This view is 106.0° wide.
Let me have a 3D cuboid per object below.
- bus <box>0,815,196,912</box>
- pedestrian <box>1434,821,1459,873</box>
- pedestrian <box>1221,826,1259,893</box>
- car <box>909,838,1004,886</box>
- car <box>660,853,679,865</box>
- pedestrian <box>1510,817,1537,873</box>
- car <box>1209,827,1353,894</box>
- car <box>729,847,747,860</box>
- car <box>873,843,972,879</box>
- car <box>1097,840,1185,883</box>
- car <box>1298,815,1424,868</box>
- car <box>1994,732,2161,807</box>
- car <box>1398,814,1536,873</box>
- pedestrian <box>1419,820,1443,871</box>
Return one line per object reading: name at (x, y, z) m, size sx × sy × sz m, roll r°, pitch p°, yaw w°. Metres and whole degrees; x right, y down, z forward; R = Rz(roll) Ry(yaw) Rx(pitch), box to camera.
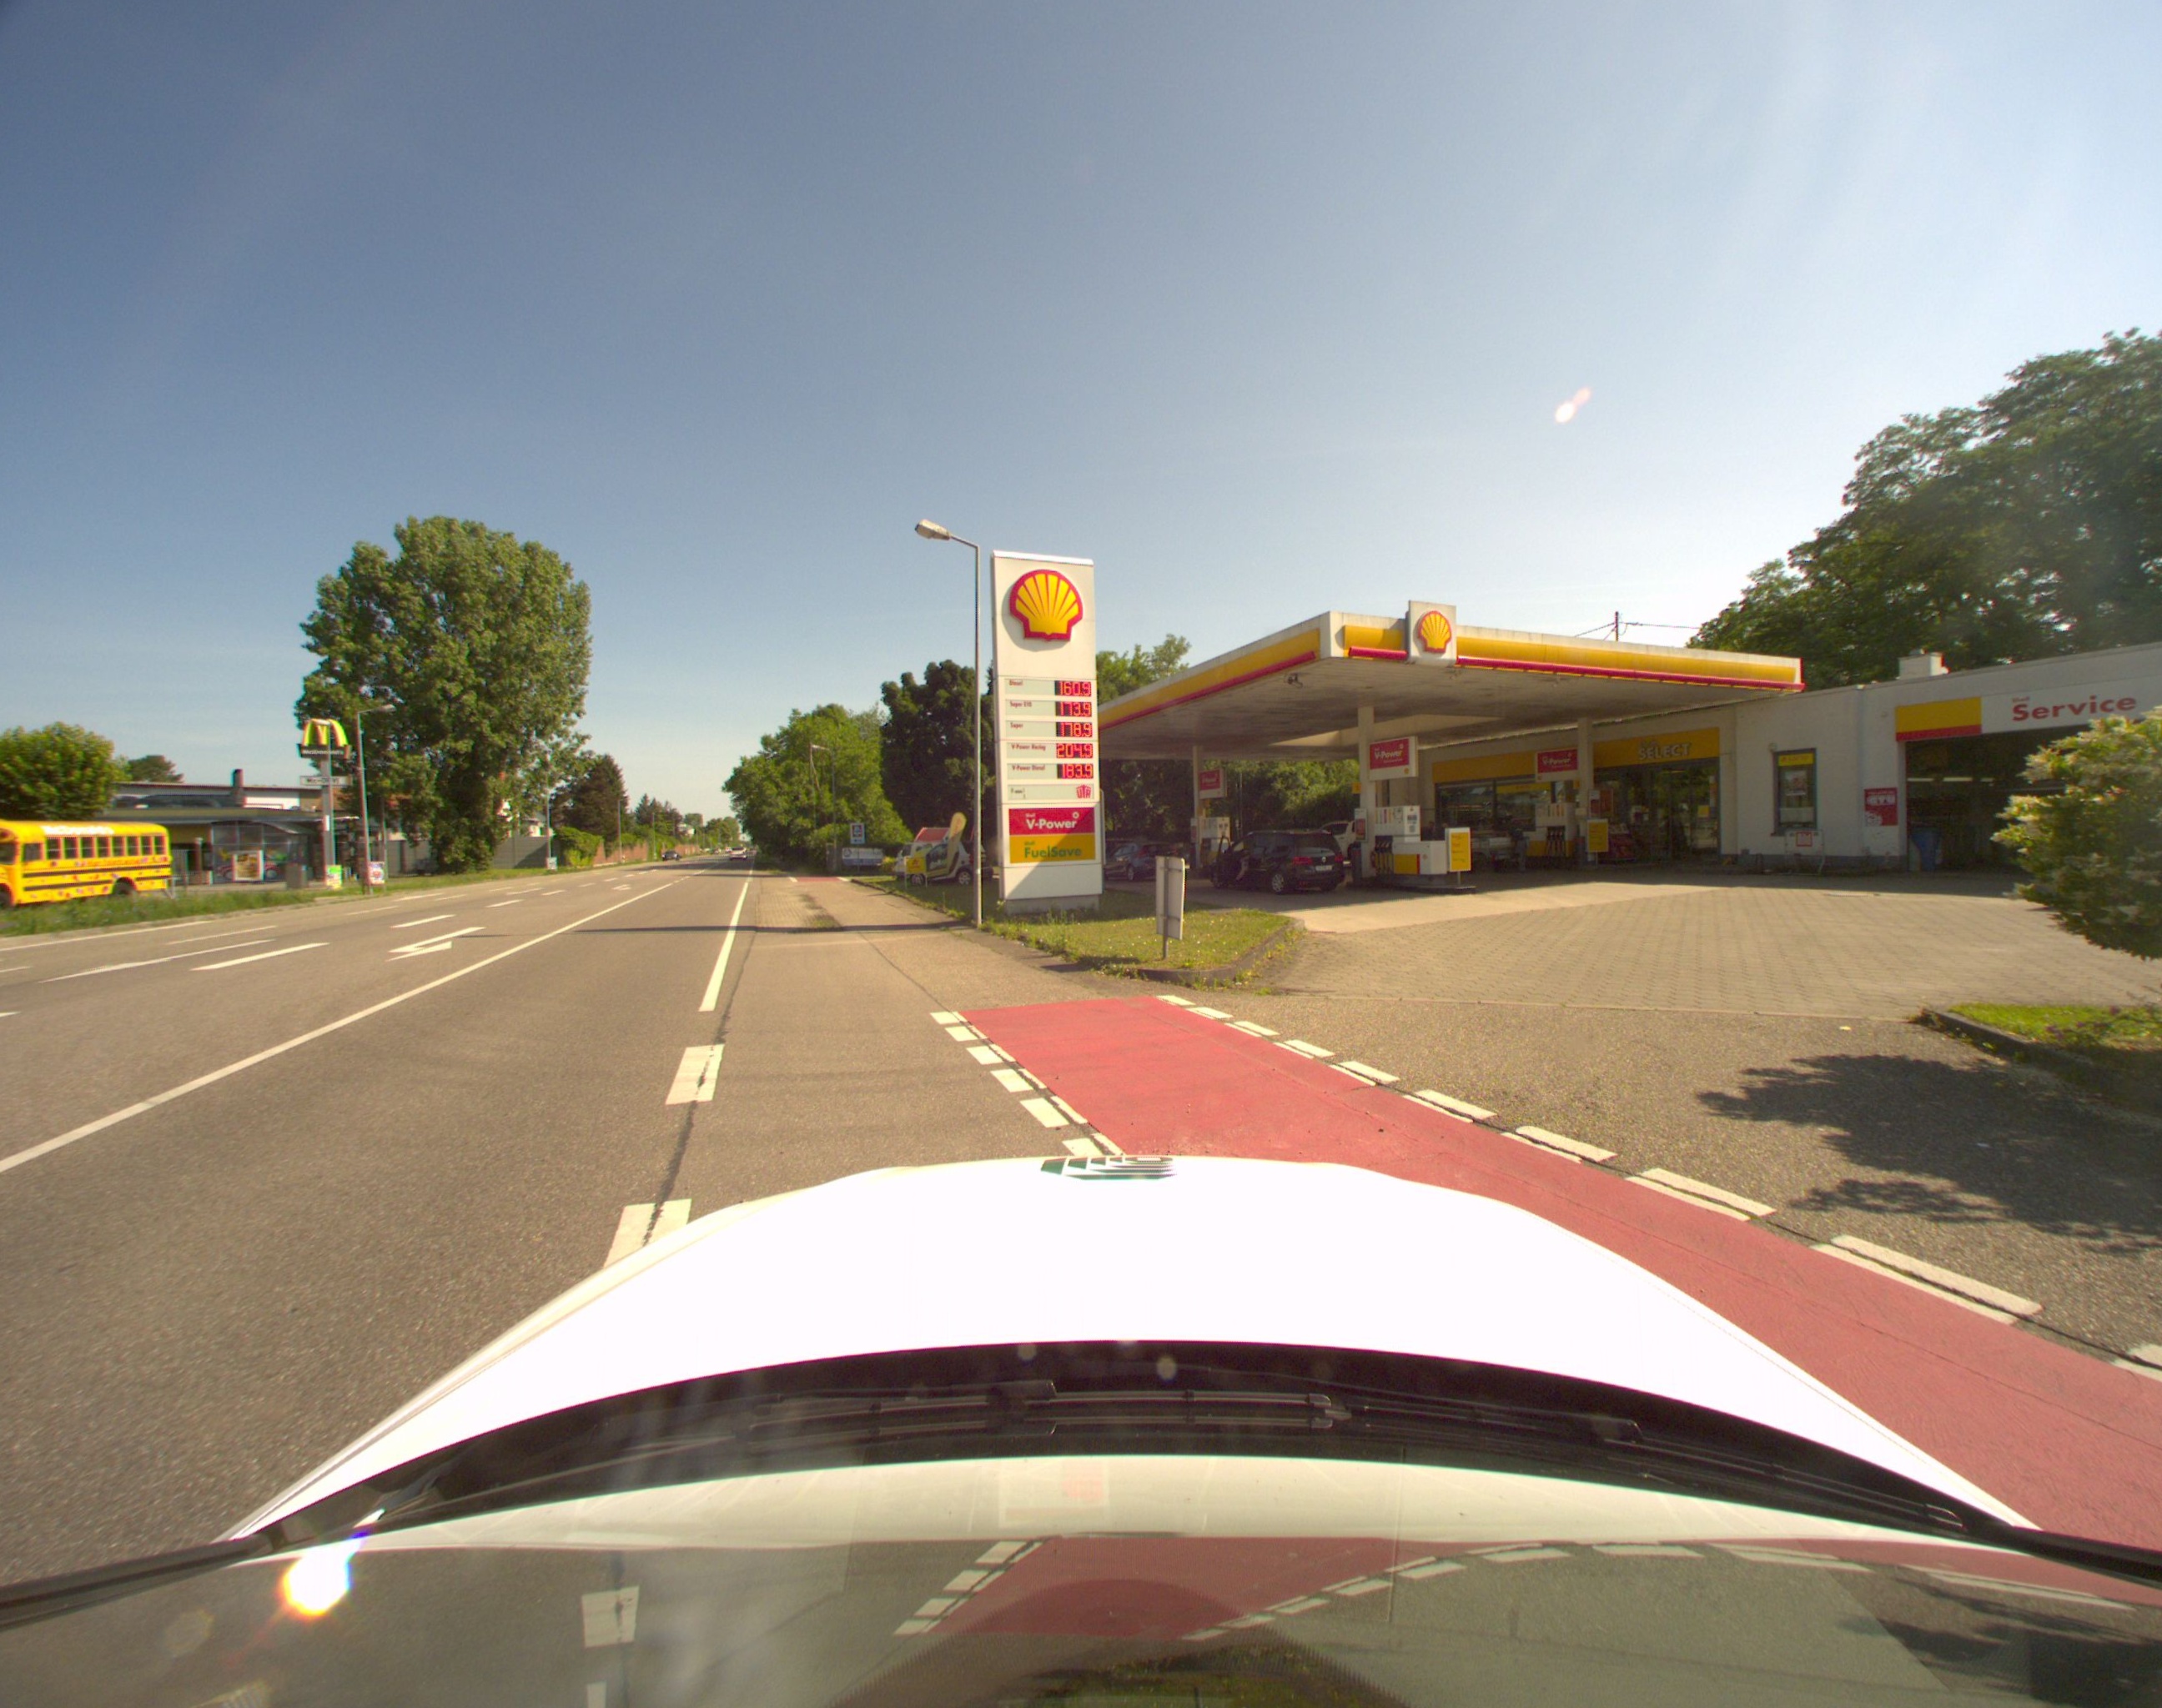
bus at (-32.758, 0.285, 26.021) m, size 2.590 × 2.679 × 8.927 m, roll 0°, pitch 0°, yaw -23°
pedestrian at (11.516, -0.227, 25.680) m, size 0.500 × 1.593 × 0.473 m, roll -2°, pitch 1°, yaw -18°
pedestrian at (4.245, 0.132, 21.759) m, size 0.673 × 1.729 × 0.808 m, roll -2°, pitch 1°, yaw -14°
car at (-4.200, 0.273, 27.519) m, size 2.698 × 1.530 × 1.586 m, roll -1°, pitch -1°, yaw 22°
car at (-57.661, 0.637, 114.203) m, size 1.854 × 1.495 × 4.876 m, roll -4°, pitch 1°, yaw -21°
pedestrian at (13.355, -0.279, 24.599) m, size 0.476 × 1.668 × 0.497 m, roll -2°, pitch 1°, yaw -20°
car at (5.223, 0.126, 21.758) m, size 1.767 × 1.578 × 3.848 m, roll -2°, pitch 1°, yaw -23°
car at (-41.008, -0.057, 97.347) m, size 1.854 × 1.541 × 4.194 m, roll 0°, pitch 0°, yaw -21°
car at (-6.984, 0.290, 35.983) m, size 4.011 × 1.530 × 1.571 m, roll 0°, pitch 0°, yaw -29°
car at (2.066, 0.236, 29.308) m, size 1.803 × 1.360 × 3.824 m, roll -2°, pitch 1°, yaw -19°
car at (10.632, -0.485, 31.332) m, size 1.859 × 1.837 × 4.744 m, roll -2°, pitch 1°, yaw -23°
car at (23.995, -1.947, 19.401) m, size 4.000 × 1.486 × 1.641 m, roll 0°, pitch 0°, yaw -20°
car at (12.430, -0.335, 26.528) m, size 1.832 × 1.728 × 3.976 m, roll -2°, pitch 1°, yaw -18°
pedestrian at (11.382, -0.283, 26.507) m, size 0.500 × 1.631 × 0.473 m, roll -2°, pitch 1°, yaw -18°
